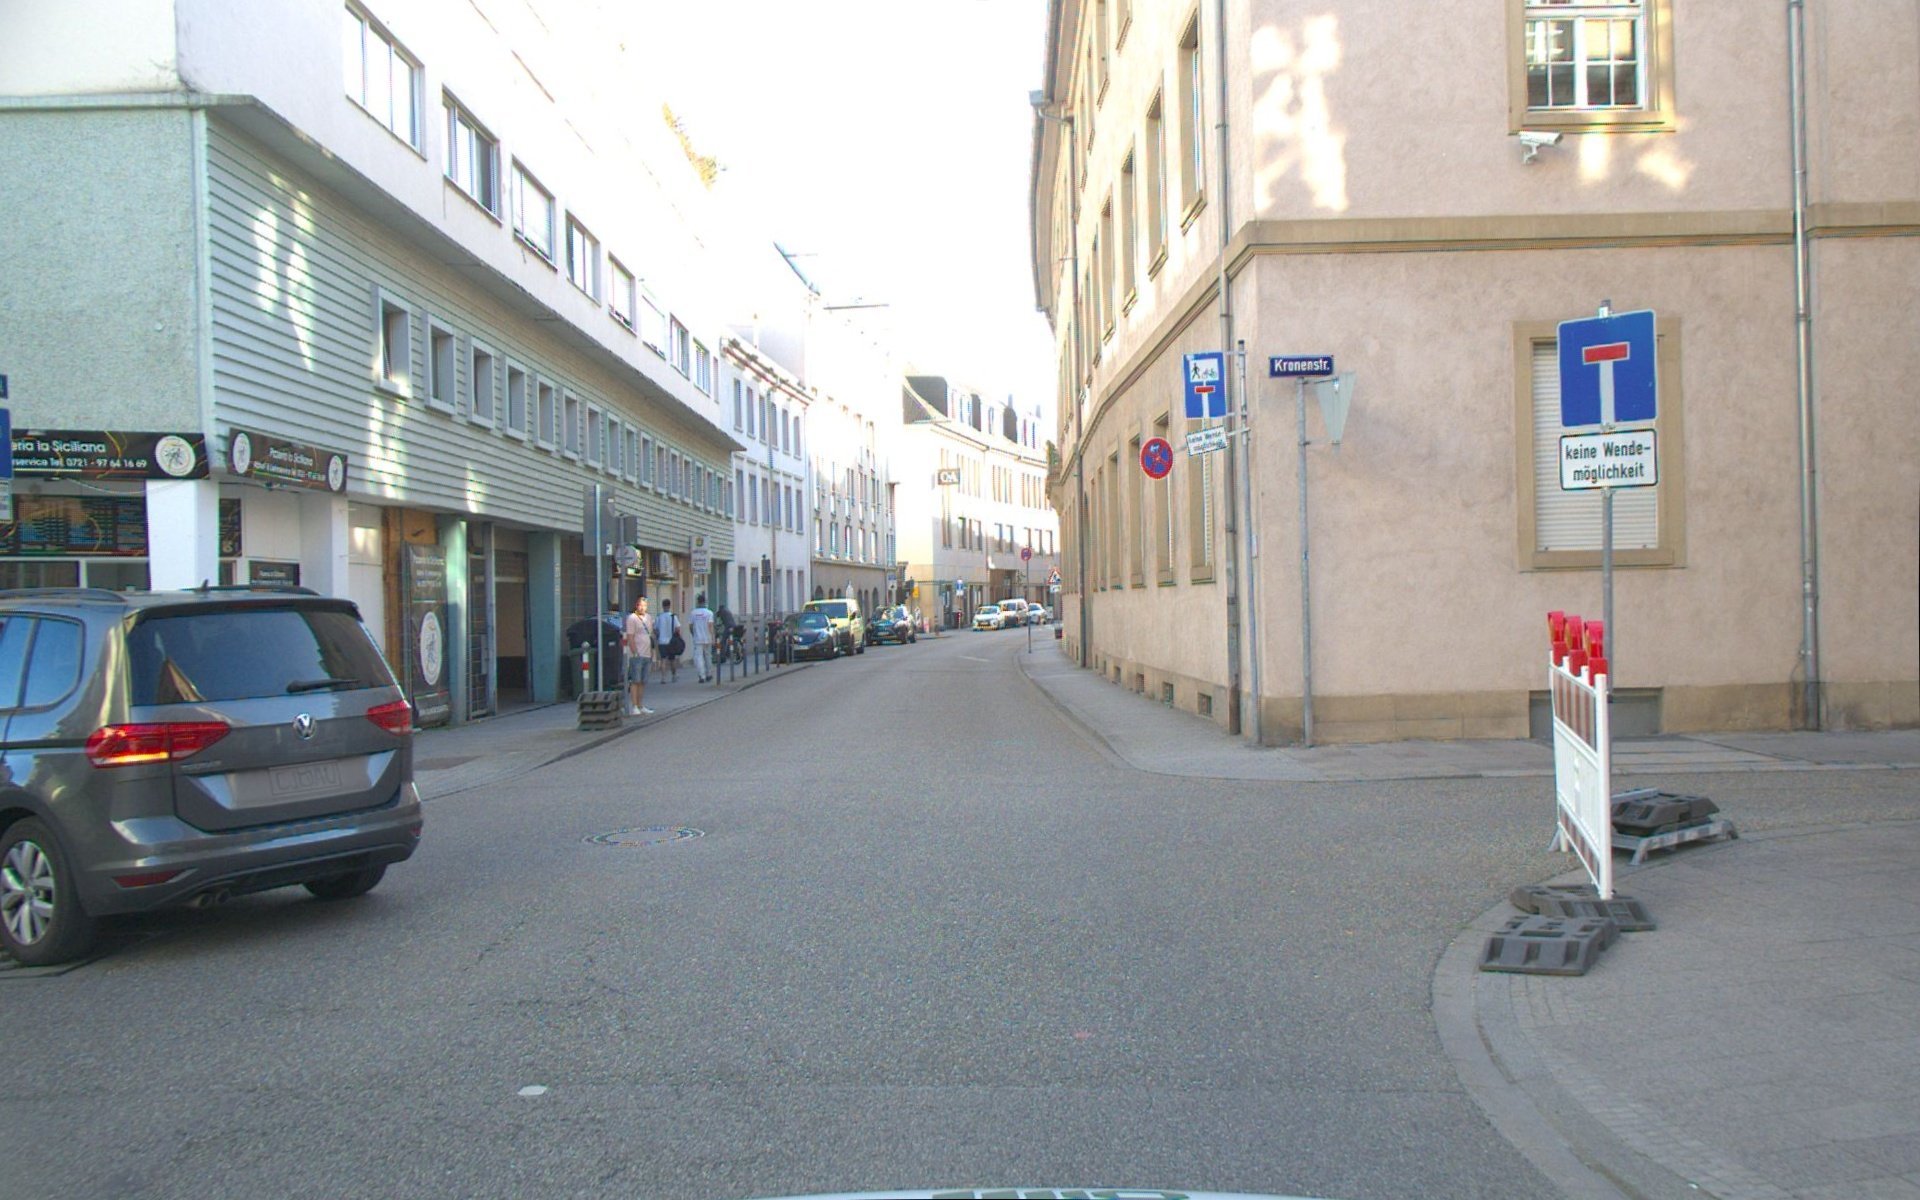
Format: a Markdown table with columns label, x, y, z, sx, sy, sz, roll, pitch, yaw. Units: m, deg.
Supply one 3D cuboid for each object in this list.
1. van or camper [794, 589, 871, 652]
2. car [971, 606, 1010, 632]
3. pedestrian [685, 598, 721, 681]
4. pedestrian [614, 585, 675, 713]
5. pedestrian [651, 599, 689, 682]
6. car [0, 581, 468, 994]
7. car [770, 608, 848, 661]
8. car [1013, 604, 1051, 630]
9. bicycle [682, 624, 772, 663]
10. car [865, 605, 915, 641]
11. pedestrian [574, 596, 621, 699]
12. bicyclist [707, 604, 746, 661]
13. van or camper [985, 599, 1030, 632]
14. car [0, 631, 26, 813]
| label | x | y | z | sx | sy | sz | roll | pitch | yaw |
| --- | --- | --- | --- | --- | --- | --- | --- | --- | --- |
| van or camper | -4.343 | 0.682 | 56.793 | 1.952 | 2.049 | 4.485 | -1 | 0 | 4 |
| car | 1.923 | 1.174 | 103.432 | 1.697 | 1.493 | 4.003 | -1 | 0 | 12 |
| pedestrian | -5.357 | 0.815 | 34.483 | 0.649 | 1.714 | 0.480 | -1 | 0 | -1 |
| pedestrian | -4.674 | 0.717 | 24.519 | 0.544 | 1.861 | 0.731 | -1 | 0 | 22 |
| pedestrian | -6.040 | 0.835 | 34.462 | 0.697 | 1.714 | 0.480 | -1 | 0 | -1 |
| car | -4.500 | 0.763 | 8.393 | 3.917 | 1.635 | 1.762 | -1 | 0 | 34 |
| car | -4.611 | 1.030 | 51.045 | 1.826 | 1.494 | 3.835 | -1 | 0 | 3 |
| car | 5.059 | 1.176 | 115.592 | 1.787 | 1.756 | 4.003 | -1 | 0 | 15 |
| bicycle | -6.684 | 1.246 | 47.463 | 2.490 | 1.073 | 0.833 | -1 | 0 | 24 |
| car | -3.062 | 0.975 | 73.023 | 1.826 | 1.494 | 3.835 | -1 | 0 | 3 |
| pedestrian | -6.701 | 0.871 | 30.603 | 0.714 | 1.861 | 0.557 | -1 | 0 | -2 |
| bicyclist | -6.699 | 0.934 | 47.462 | 0.742 | 1.589 | 0.833 | -1 | 0 | 24 |
| van or camper | 3.150 | 1.008 | 109.236 | 1.951 | 2.049 | 5.002 | -1 | 0 | 14 |
| car | -9.816 | 1.065 | 12.797 | 4.014 | 1.468 | 1.947 | -2 | 0 | 0 |
